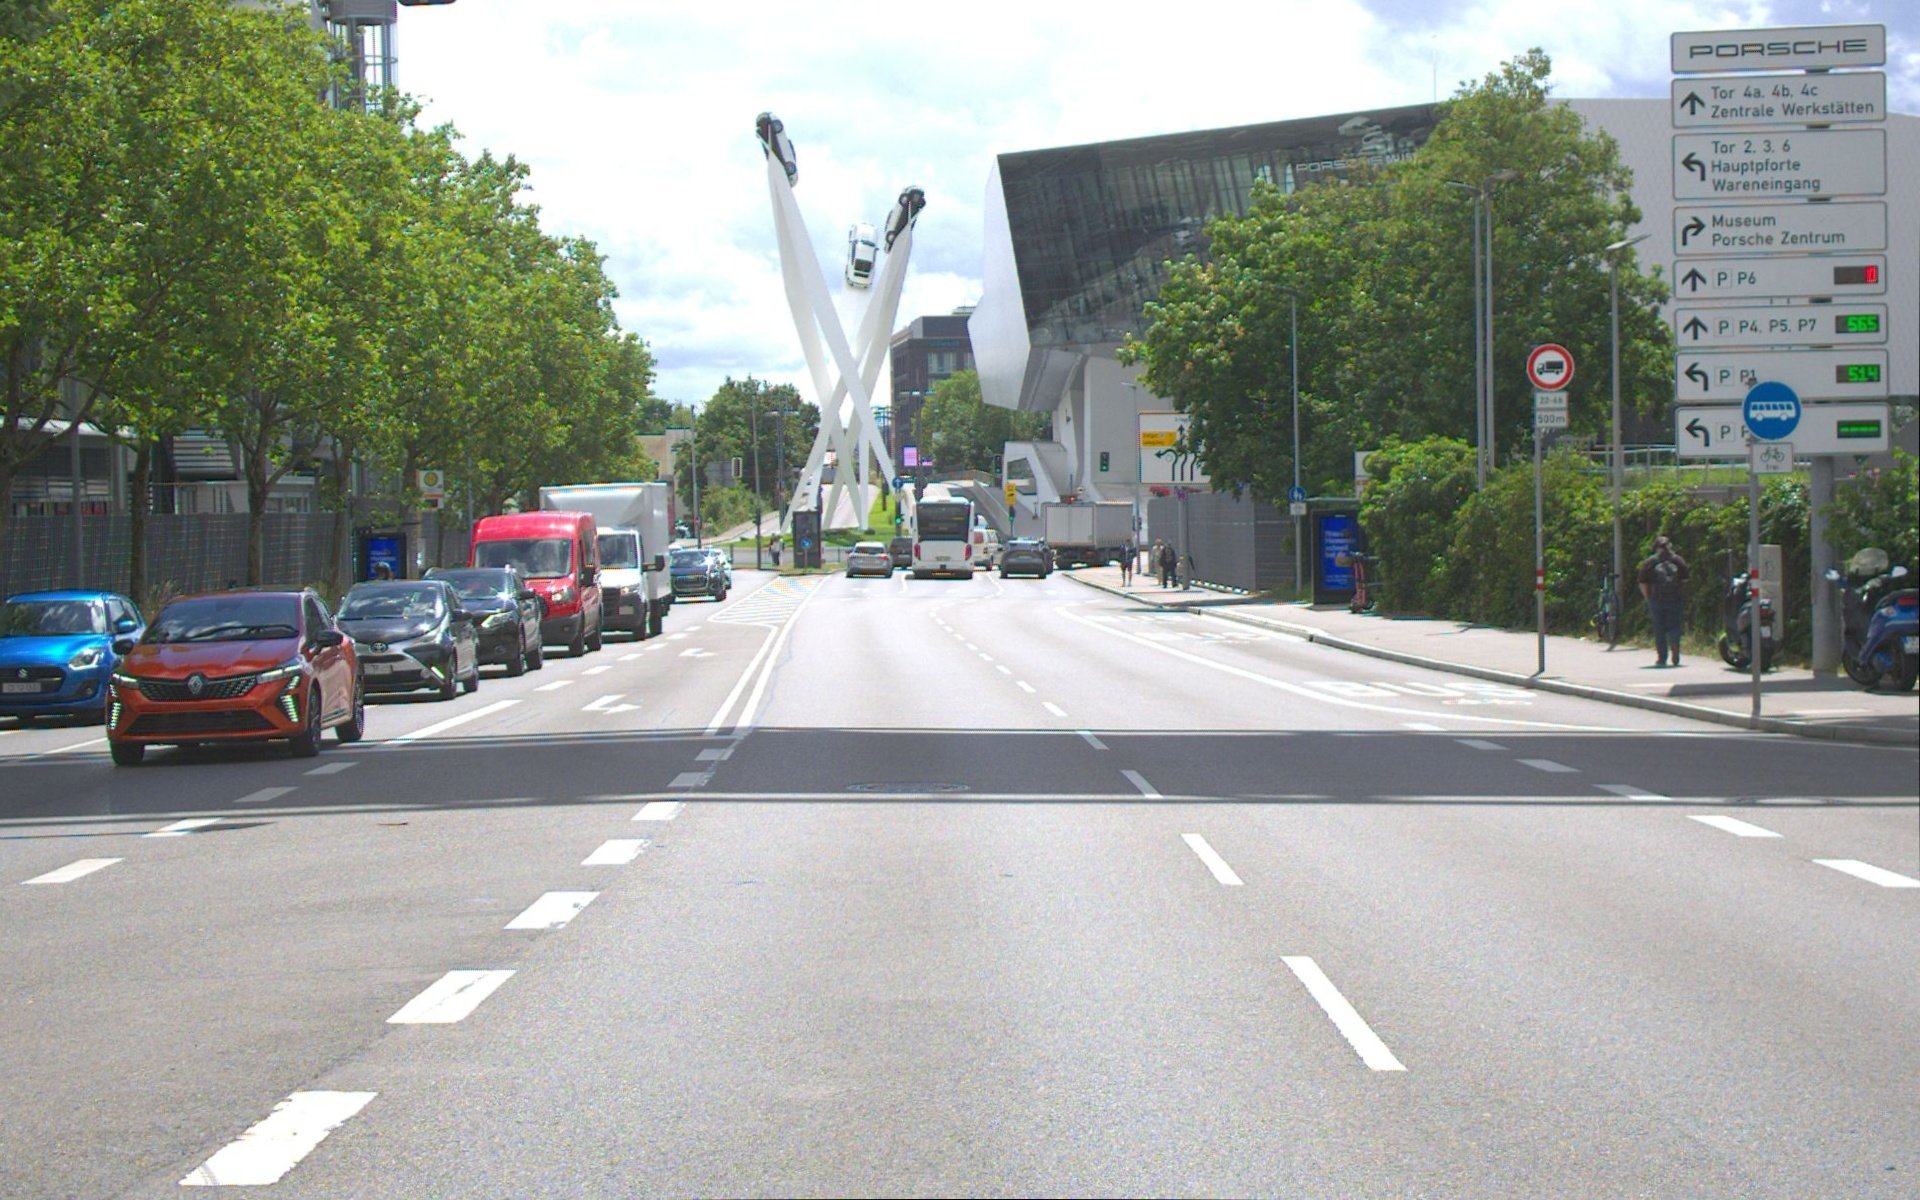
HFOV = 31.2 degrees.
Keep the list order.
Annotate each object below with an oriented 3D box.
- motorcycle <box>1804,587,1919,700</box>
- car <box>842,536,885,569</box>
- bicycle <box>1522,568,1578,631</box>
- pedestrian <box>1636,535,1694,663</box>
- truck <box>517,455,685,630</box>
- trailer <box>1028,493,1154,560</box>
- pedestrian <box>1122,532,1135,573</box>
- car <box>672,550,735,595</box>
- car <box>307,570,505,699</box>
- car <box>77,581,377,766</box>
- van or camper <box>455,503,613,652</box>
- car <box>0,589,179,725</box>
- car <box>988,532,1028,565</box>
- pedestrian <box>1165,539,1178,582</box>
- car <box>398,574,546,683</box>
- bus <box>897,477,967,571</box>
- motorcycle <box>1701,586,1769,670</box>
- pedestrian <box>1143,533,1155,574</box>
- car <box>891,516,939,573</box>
[{"bbox_3d":[9.561,0.447,36.360,0.418,1.162,1.957,1,0,-11],"label":"motorcycle"},{"bbox_3d":[-3.942,-1.949,141.110,1.557,1.269,3.701,-2,1,1],"label":"car"},{"bbox_3d":[9.706,-0.013,56.606,0.418,1.019,1.913,1,0,-5],"label":"bicycle"},{"bbox_3d":[9.122,-0.017,44.488,0.533,1.635,0.658,1,0,-6],"label":"pedestrian"},{"bbox_3d":[-7.133,-1.096,69.205,2.591,3.313,7.079,1,0,0],"label":"truck"},{"bbox_3d":[6.510,-3.583,168.464,3.322,2.985,10.366,1,0,19],"label":"trailer"},{"bbox_3d":[5.891,-1.662,120.197,0.386,1.416,0.423,1,0,0],"label":"pedestrian"},{"bbox_3d":[-7.727,-0.846,103.748,1.557,1.269,3.701,-2,1,0],"label":"car"},{"bbox_3d":[-6.722,0.389,42.062,1.769,1.415,3.701,-2,1,0],"label":"car"},{"bbox_3d":[-6.334,0.596,30.083,1.769,1.415,3.701,-2,1,0],"label":"car"},{"bbox_3d":[-7.357,-0.405,59.850,2.047,2.458,5.594,0,1,0],"label":"van or camper"},{"bbox_3d":[-10.110,0.619,38.690,1.727,1.378,3.701,-2,1,0],"label":"car"},{"bbox_3d":[1.961,-2.128,141.222,1.557,1.269,3.701,-2,1,1],"label":"car"},{"bbox_3d":[7.137,-1.328,115.870,0.386,1.416,0.423,1,0,0],"label":"pedestrian"},{"bbox_3d":[-7.076,0.387,50.110,1.557,1.443,3.772,-2,1,0],"label":"car"},{"bbox_3d":[-1.140,-3.112,142.772,2.787,3.673,6.943,1,0,0],"label":"bus"},{"bbox_3d":[9.764,0.346,43.345,0.457,1.019,1.912,1,0,1],"label":"motorcycle"},{"bbox_3d":[6.606,-1.640,120.382,0.386,1.416,0.423,1,0,0],"label":"pedestrian"},{"bbox_3d":[-2.138,-2.602,163.528,1.844,2.615,3.999,1,0,5],"label":"car"}]
